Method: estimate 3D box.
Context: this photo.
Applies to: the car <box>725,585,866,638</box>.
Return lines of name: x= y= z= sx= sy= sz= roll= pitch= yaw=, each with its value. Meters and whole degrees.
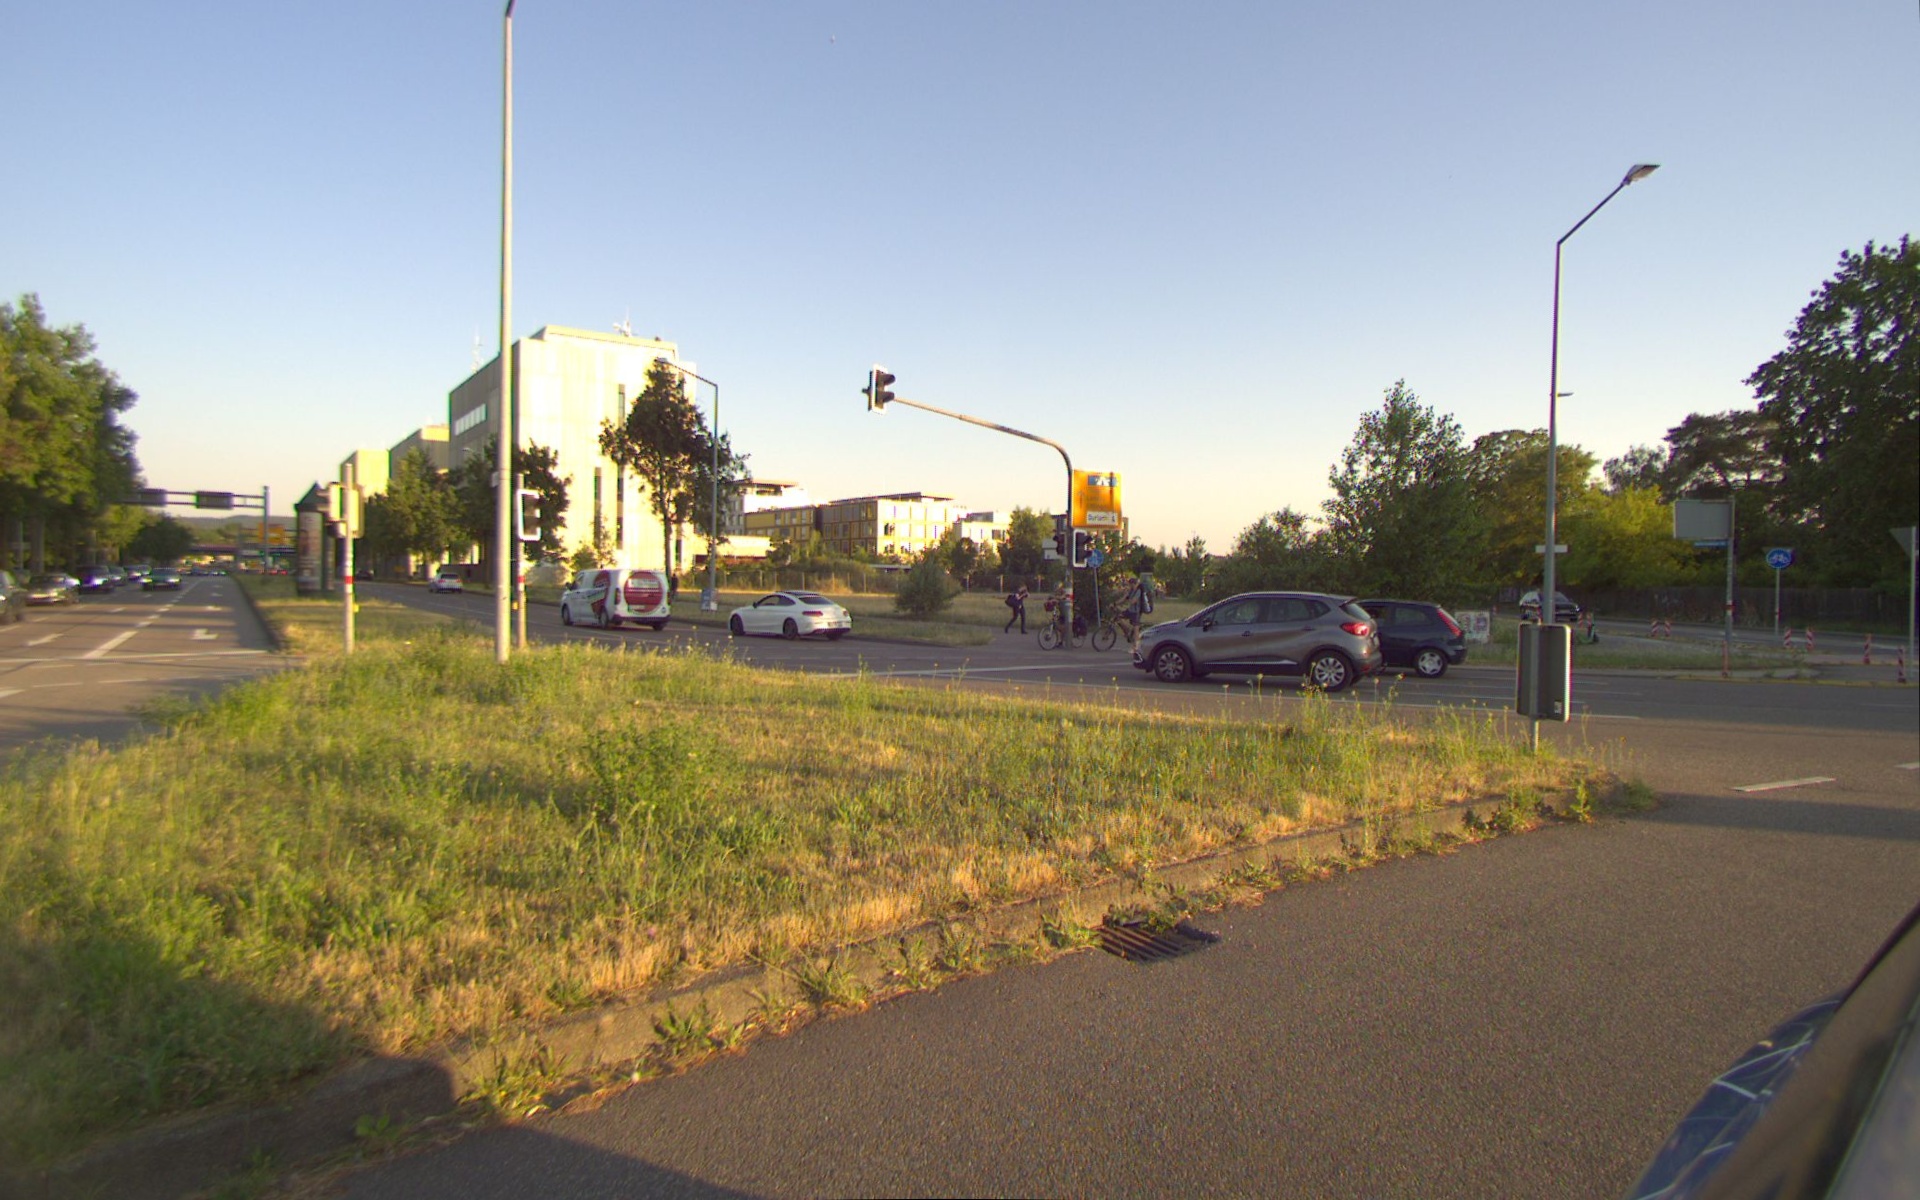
car: x=-4.990 y=0.288 z=30.356 sx=1.967 sy=1.425 sz=4.515 roll=0 pitch=1 yaw=-44

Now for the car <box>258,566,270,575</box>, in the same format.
car: x=-141.684 y=-6.003 z=206.074 sx=1.962 sy=1.805 sz=4.001 roll=0 pitch=1 yaw=-35

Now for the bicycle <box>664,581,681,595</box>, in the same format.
bicycle: x=-17.192 y=-0.713 z=60.452 sx=0.487 sy=0.837 sz=1.515 roll=0 pitch=1 yaw=-35

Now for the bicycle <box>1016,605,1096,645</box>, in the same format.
bicycle: x=2.599 y=0.661 z=27.346 sx=2.065 sy=0.975 sz=0.711 roll=-2 pitch=2 yaw=-27

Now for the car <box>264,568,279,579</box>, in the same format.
car: x=-114.820 y=-4.473 z=168.698 sx=1.962 sy=1.805 sz=4.001 roll=0 pitch=1 yaw=-35

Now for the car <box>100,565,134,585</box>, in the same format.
car: x=-60.155 y=-1.793 z=72.211 sx=1.835 sy=1.407 sz=4.157 roll=0 pitch=1 yaw=-40

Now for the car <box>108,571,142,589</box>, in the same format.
car: x=-68.330 y=-1.676 z=82.855 sx=1.832 sy=1.407 sz=4.163 roll=0 pitch=1 yaw=-35

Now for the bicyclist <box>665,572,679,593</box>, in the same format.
bicyclist: x=-17.177 y=-1.054 z=60.439 sx=0.606 sy=1.272 sz=0.735 roll=0 pitch=1 yaw=-34

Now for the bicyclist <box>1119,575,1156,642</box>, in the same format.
bicyclist: x=4.599 y=0.211 z=26.262 sx=0.674 sy=1.711 sz=0.727 roll=1 pitch=1 yaw=-13

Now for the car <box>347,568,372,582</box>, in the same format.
car: x=-70.064 y=-2.913 z=118.026 sx=1.964 sy=1.593 sz=3.997 roll=0 pitch=1 yaw=-39

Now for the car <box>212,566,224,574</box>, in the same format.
car: x=-150.083 y=-6.006 z=204.688 sx=1.963 sy=1.524 sz=4.771 roll=0 pitch=1 yaw=-36

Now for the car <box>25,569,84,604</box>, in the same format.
car: x=-40.679 y=-0.649 z=45.430 sx=1.855 sy=1.482 sz=4.660 roll=0 pitch=1 yaw=-43

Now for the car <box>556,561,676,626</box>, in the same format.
car: x=-11.293 y=-0.249 z=33.027 sx=2.032 sy=1.971 sz=4.954 roll=0 pitch=1 yaw=-40

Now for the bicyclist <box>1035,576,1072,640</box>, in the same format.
bicyclist: x=2.513 y=0.210 z=27.327 sx=0.675 sy=1.711 sz=0.726 roll=0 pitch=1 yaw=-29

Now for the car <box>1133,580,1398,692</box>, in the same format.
car: x=5.163 y=0.520 z=17.189 sx=3.967 sy=1.649 sz=1.979 roll=1 pitch=1 yaw=31

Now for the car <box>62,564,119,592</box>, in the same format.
car: x=-51.097 y=-1.303 z=59.519 sx=1.961 sy=1.593 sz=4.418 roll=0 pitch=1 yaw=-33

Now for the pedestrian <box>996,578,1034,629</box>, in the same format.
pedestrian: x=1.785 y=0.115 z=32.797 sx=0.981 sy=1.610 sz=0.919 roll=1 pitch=1 yaw=25

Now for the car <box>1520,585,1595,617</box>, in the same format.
car: x=32.914 y=0.010 z=55.893 sx=1.966 sy=1.617 sz=4.305 roll=1 pitch=1 yaw=8

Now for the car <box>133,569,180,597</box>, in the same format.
car: x=-51.556 y=-1.115 z=64.889 sx=1.966 sy=1.599 sz=4.476 roll=3 pitch=0 yaw=-43

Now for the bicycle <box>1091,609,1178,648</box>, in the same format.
bicycle: x=4.527 y=0.734 z=26.241 sx=2.100 sy=0.975 sz=0.711 roll=1 pitch=1 yaw=-15

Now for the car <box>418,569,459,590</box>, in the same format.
car: x=-38.381 y=-1.529 z=74.475 sx=1.962 sy=1.528 sz=5.186 roll=0 pitch=1 yaw=-35

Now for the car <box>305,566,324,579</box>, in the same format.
car: x=-82.023 y=-3.534 z=128.585 sx=1.962 sy=1.616 sz=4.001 roll=0 pitch=1 yaw=-35

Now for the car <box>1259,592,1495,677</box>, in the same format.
car: x=8.278 y=0.612 z=20.185 sx=4.157 sy=1.445 sz=1.982 roll=1 pitch=1 yaw=27

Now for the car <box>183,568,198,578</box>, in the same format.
car: x=-135.760 y=-4.742 z=178.484 sx=1.879 sy=1.603 sz=4.181 roll=0 pitch=1 yaw=-35

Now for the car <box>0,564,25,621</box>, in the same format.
car: x=-30.386 y=-0.213 z=31.043 sx=1.964 sy=1.657 sz=4.524 roll=-5 pitch=4 yaw=-37
